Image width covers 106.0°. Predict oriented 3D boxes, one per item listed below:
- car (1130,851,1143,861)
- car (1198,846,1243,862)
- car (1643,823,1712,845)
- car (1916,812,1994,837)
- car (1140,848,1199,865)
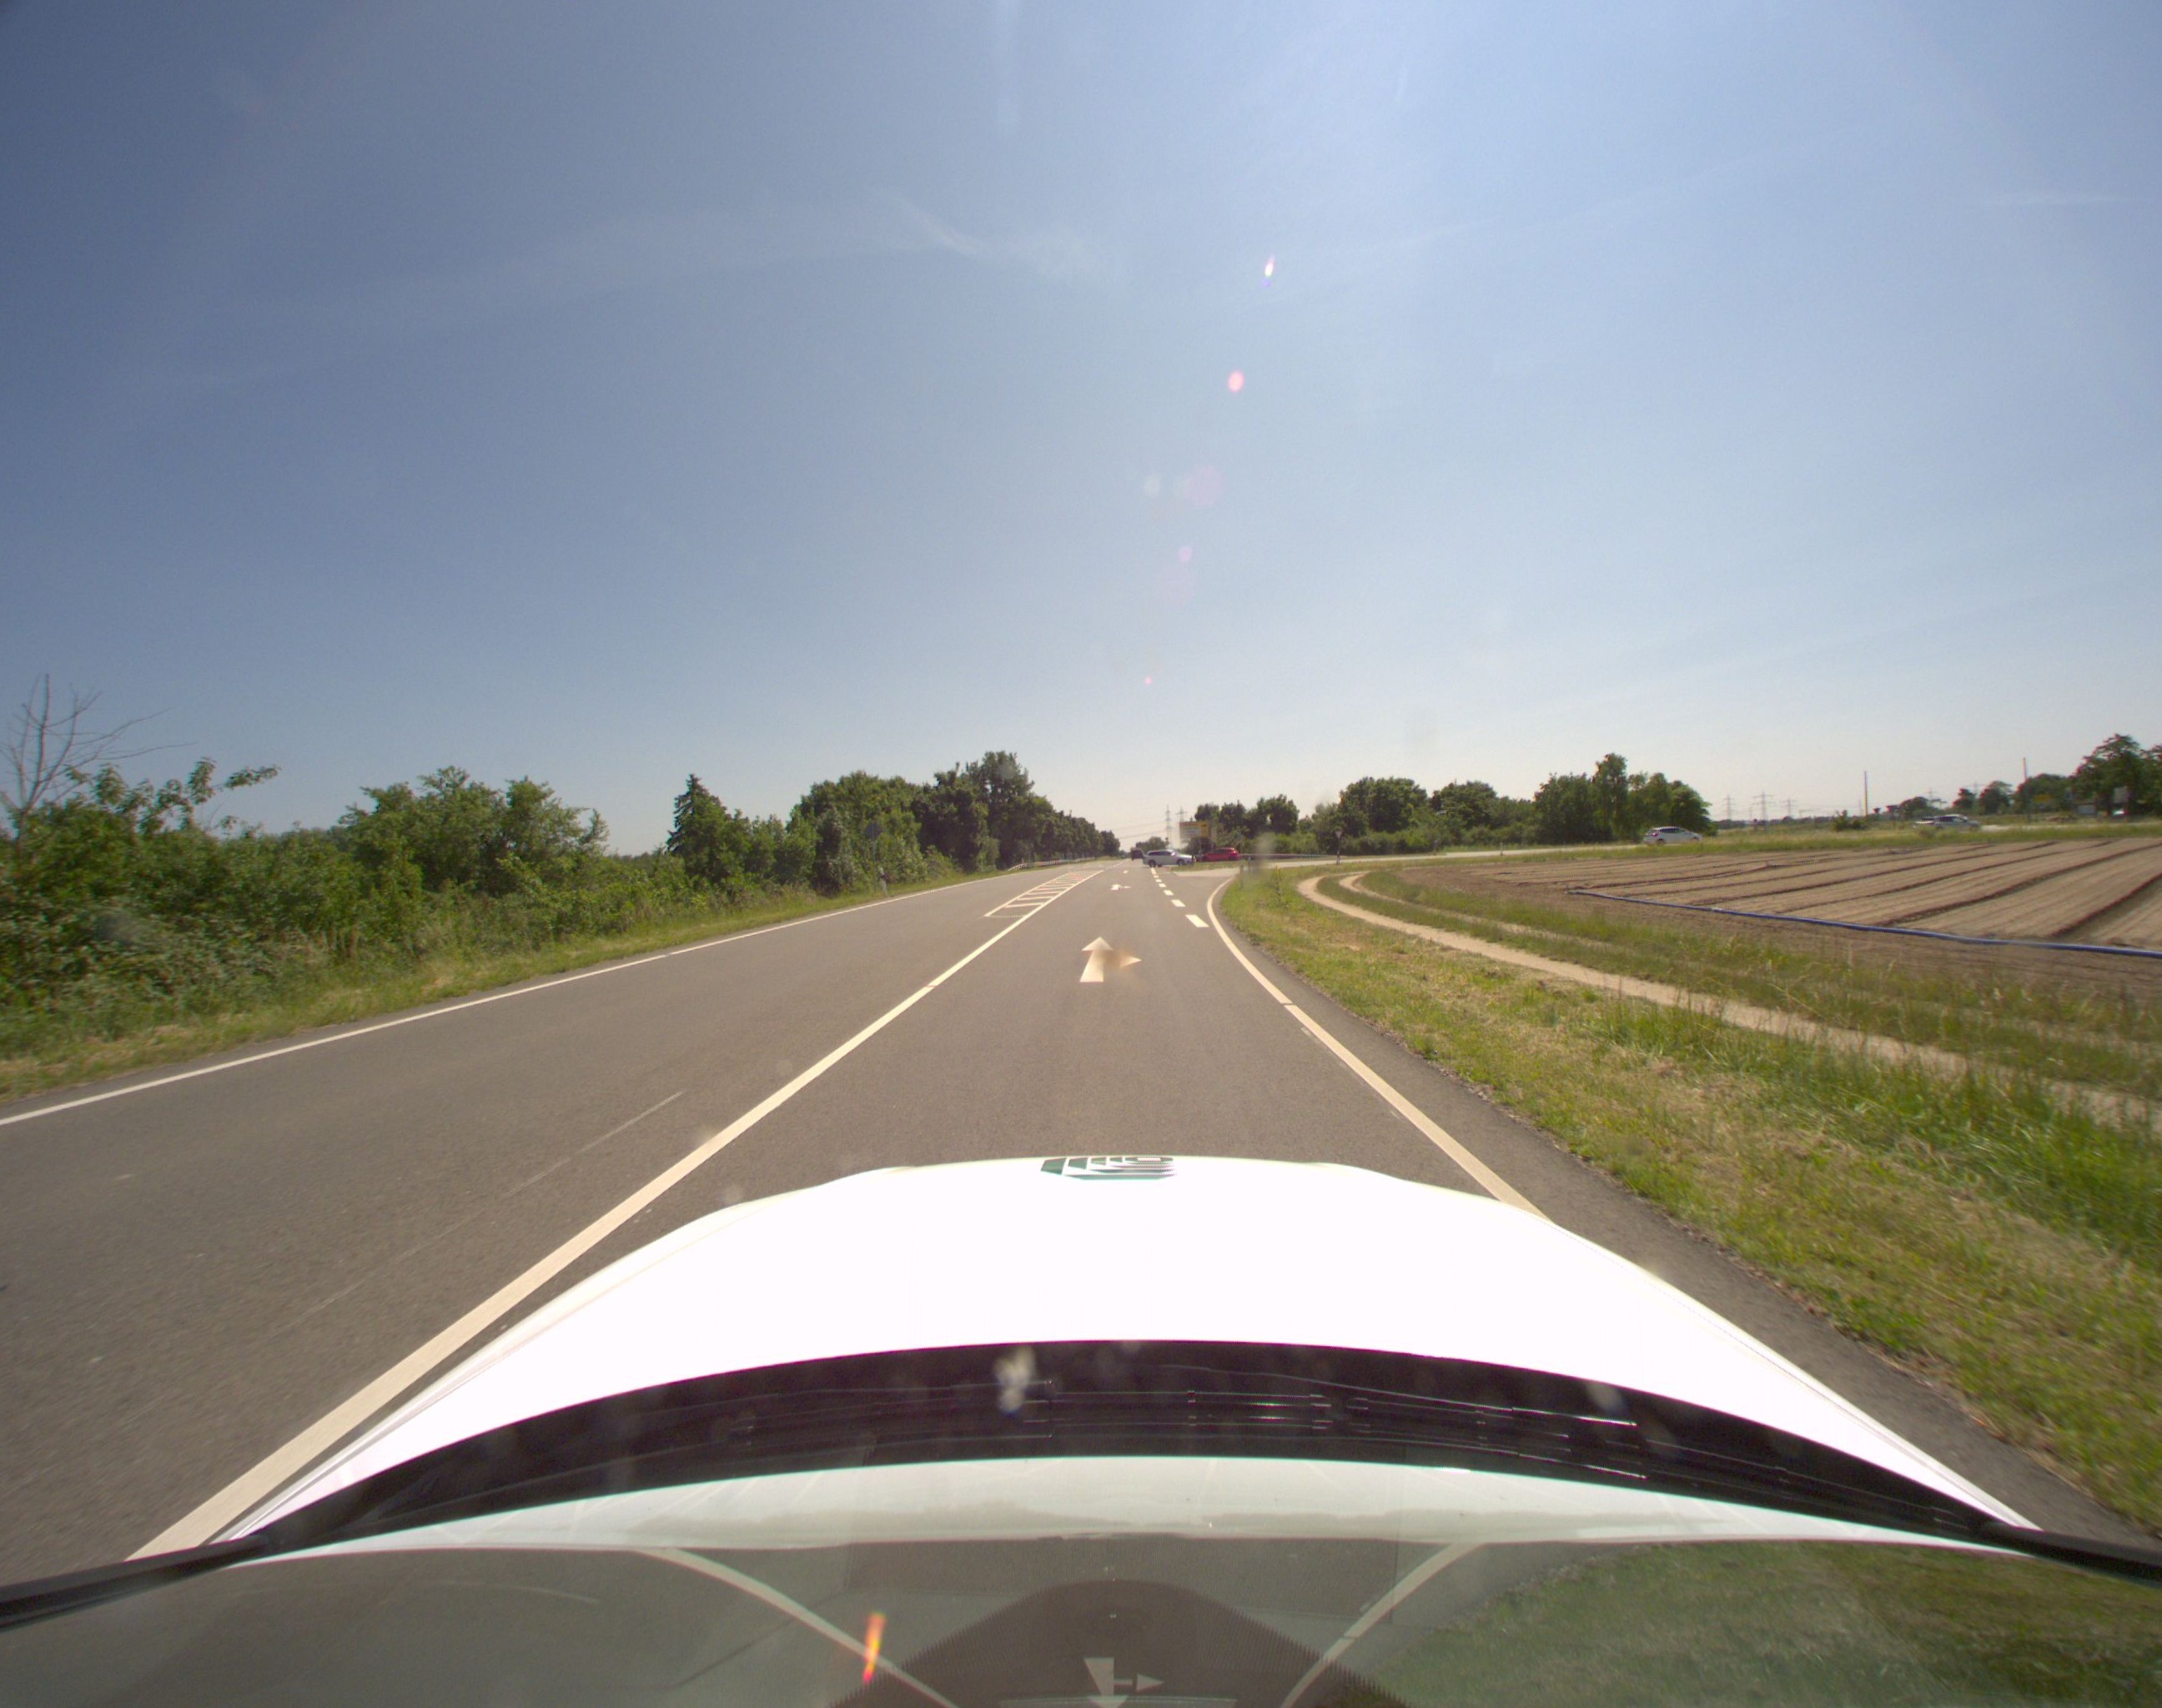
[{"bbox_3d":[8.377,0.332,123.175,1.877,1.518,4.042,-1,0,3],"label":"car"},{"bbox_3d":[13.632,0.022,79.462,4.120,1.418,1.787,-2,-1,17],"label":"car"},{"bbox_3d":[49.851,-1.631,68.164,4.102,1.623,2.077,-3,0,11],"label":"car"},{"bbox_3d":[68.109,-2.284,63.492,3.965,1.623,1.648,-3,0,7],"label":"car"},{"bbox_3d":[7.643,0.235,70.543,4.655,1.418,1.853,-1,0,30],"label":"car"}]
